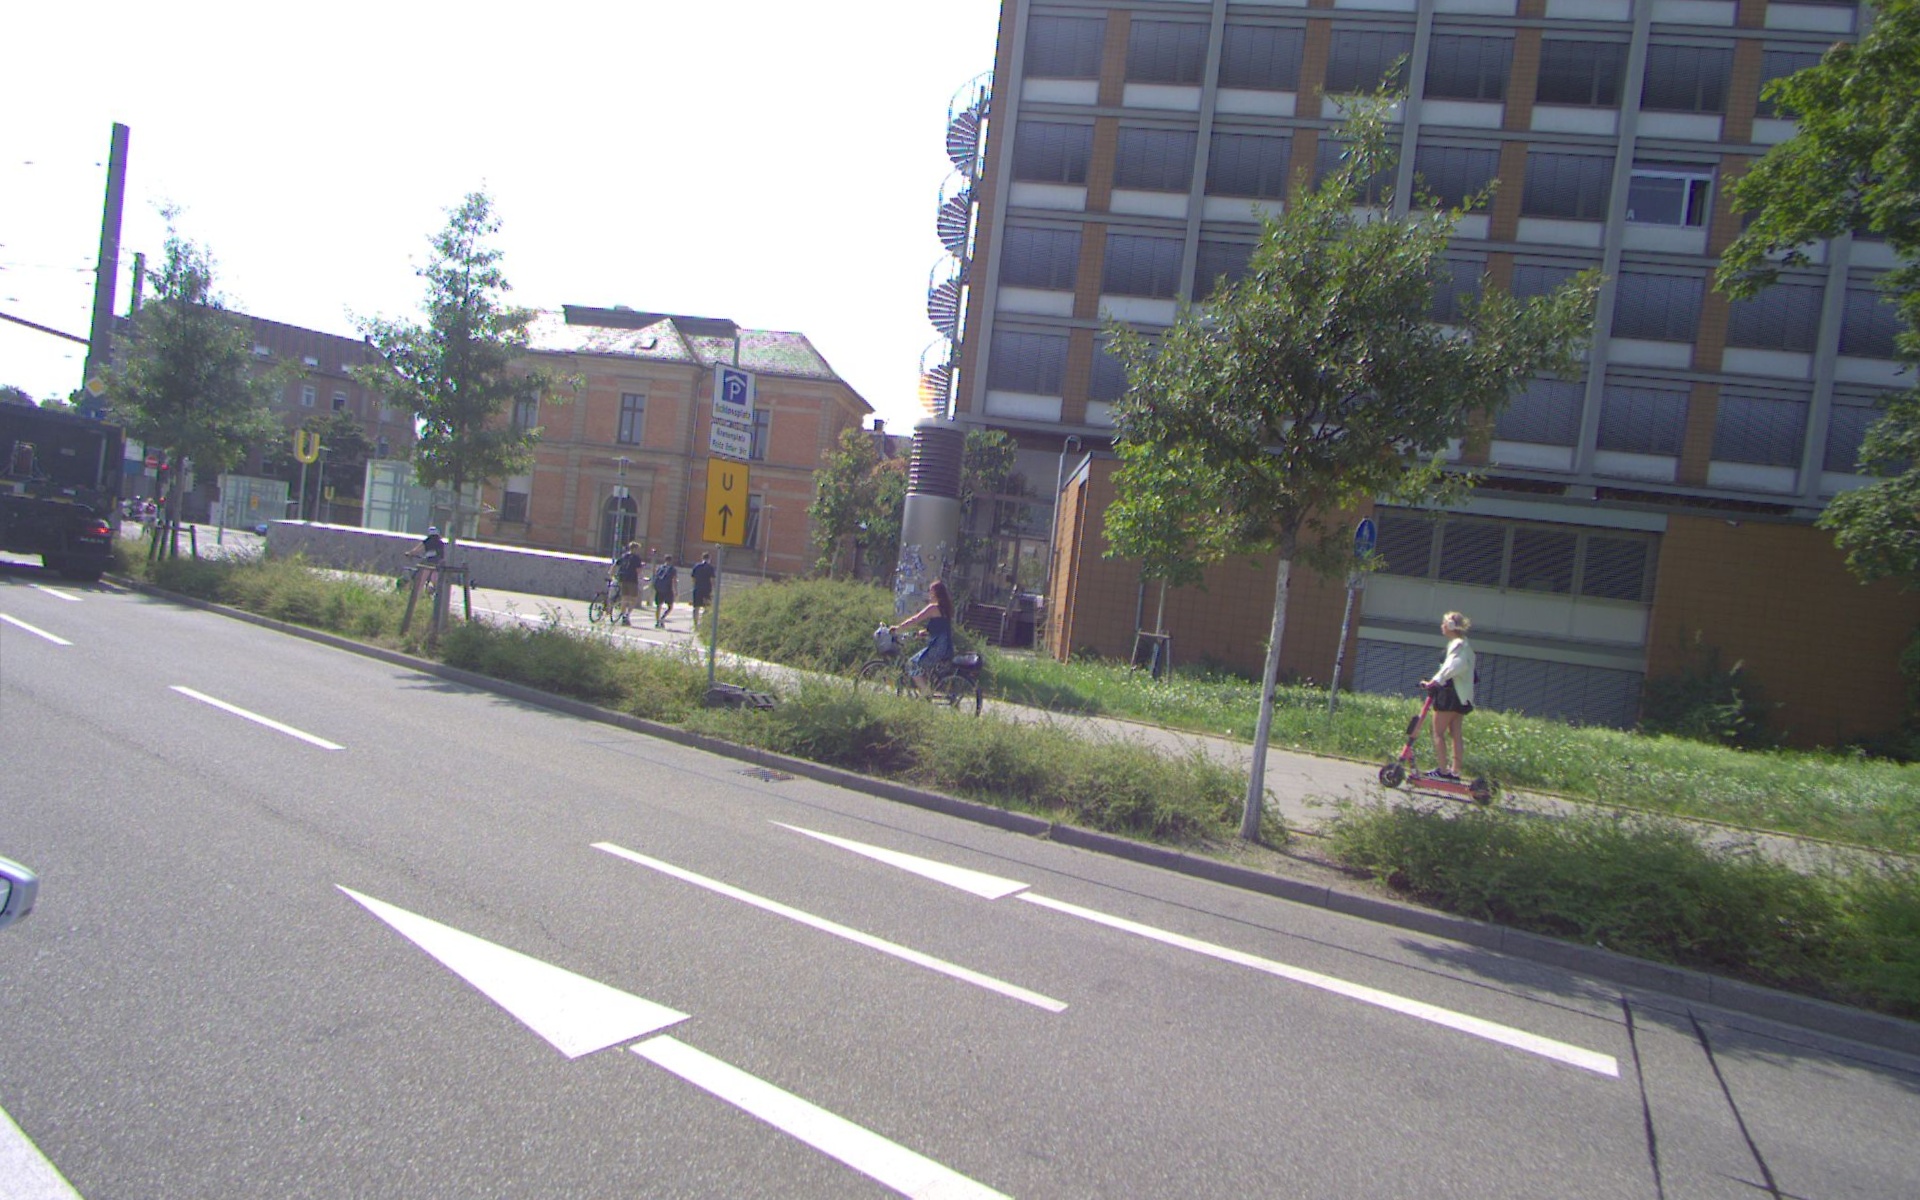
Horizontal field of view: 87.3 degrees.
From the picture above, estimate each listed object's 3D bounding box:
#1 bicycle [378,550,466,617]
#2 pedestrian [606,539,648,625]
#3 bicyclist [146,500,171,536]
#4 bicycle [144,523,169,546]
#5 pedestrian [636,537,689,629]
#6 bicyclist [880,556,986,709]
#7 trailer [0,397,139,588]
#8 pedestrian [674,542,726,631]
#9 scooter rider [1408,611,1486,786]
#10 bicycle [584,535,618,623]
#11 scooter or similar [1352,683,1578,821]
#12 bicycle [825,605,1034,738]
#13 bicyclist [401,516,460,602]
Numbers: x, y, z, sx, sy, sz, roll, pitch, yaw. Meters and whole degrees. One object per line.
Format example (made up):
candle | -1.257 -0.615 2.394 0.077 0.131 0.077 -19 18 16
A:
bicycle | -10.229 -0.325 19.110 1.972 1.073 0.556 7 1 35
pedestrian | -7.647 -0.426 23.074 0.653 1.884 0.788 6 2 -24
bicyclist | -31.483 -3.219 39.513 0.671 1.337 0.676 5 2 -39
bicycle | -31.545 -2.590 39.522 0.671 0.786 2.105 6 1 -38
pedestrian | -6.896 -0.395 23.275 0.774 1.998 0.745 5 2 -38
bicyclist | -0.310 0.360 11.521 0.830 1.621 0.690 7 4 32
trailer | -18.474 -2.154 19.587 6.233 3.044 2.462 7 -1 40
pedestrian | -6.180 -0.313 23.894 0.774 1.998 0.745 5 2 -38
scooter rider | 5.107 1.005 10.568 0.529 1.722 0.671 7 3 25
bicycle | -8.080 -0.487 22.634 0.451 1.884 1.354 6 1 -24
scooter or similar | 5.221 1.545 10.521 1.968 1.074 0.557 6 3 26
bicycle | -0.390 0.770 11.573 2.332 1.170 0.693 7 3 32
bicyclist | -9.990 -0.775 18.972 0.791 1.515 0.549 7 1 35
